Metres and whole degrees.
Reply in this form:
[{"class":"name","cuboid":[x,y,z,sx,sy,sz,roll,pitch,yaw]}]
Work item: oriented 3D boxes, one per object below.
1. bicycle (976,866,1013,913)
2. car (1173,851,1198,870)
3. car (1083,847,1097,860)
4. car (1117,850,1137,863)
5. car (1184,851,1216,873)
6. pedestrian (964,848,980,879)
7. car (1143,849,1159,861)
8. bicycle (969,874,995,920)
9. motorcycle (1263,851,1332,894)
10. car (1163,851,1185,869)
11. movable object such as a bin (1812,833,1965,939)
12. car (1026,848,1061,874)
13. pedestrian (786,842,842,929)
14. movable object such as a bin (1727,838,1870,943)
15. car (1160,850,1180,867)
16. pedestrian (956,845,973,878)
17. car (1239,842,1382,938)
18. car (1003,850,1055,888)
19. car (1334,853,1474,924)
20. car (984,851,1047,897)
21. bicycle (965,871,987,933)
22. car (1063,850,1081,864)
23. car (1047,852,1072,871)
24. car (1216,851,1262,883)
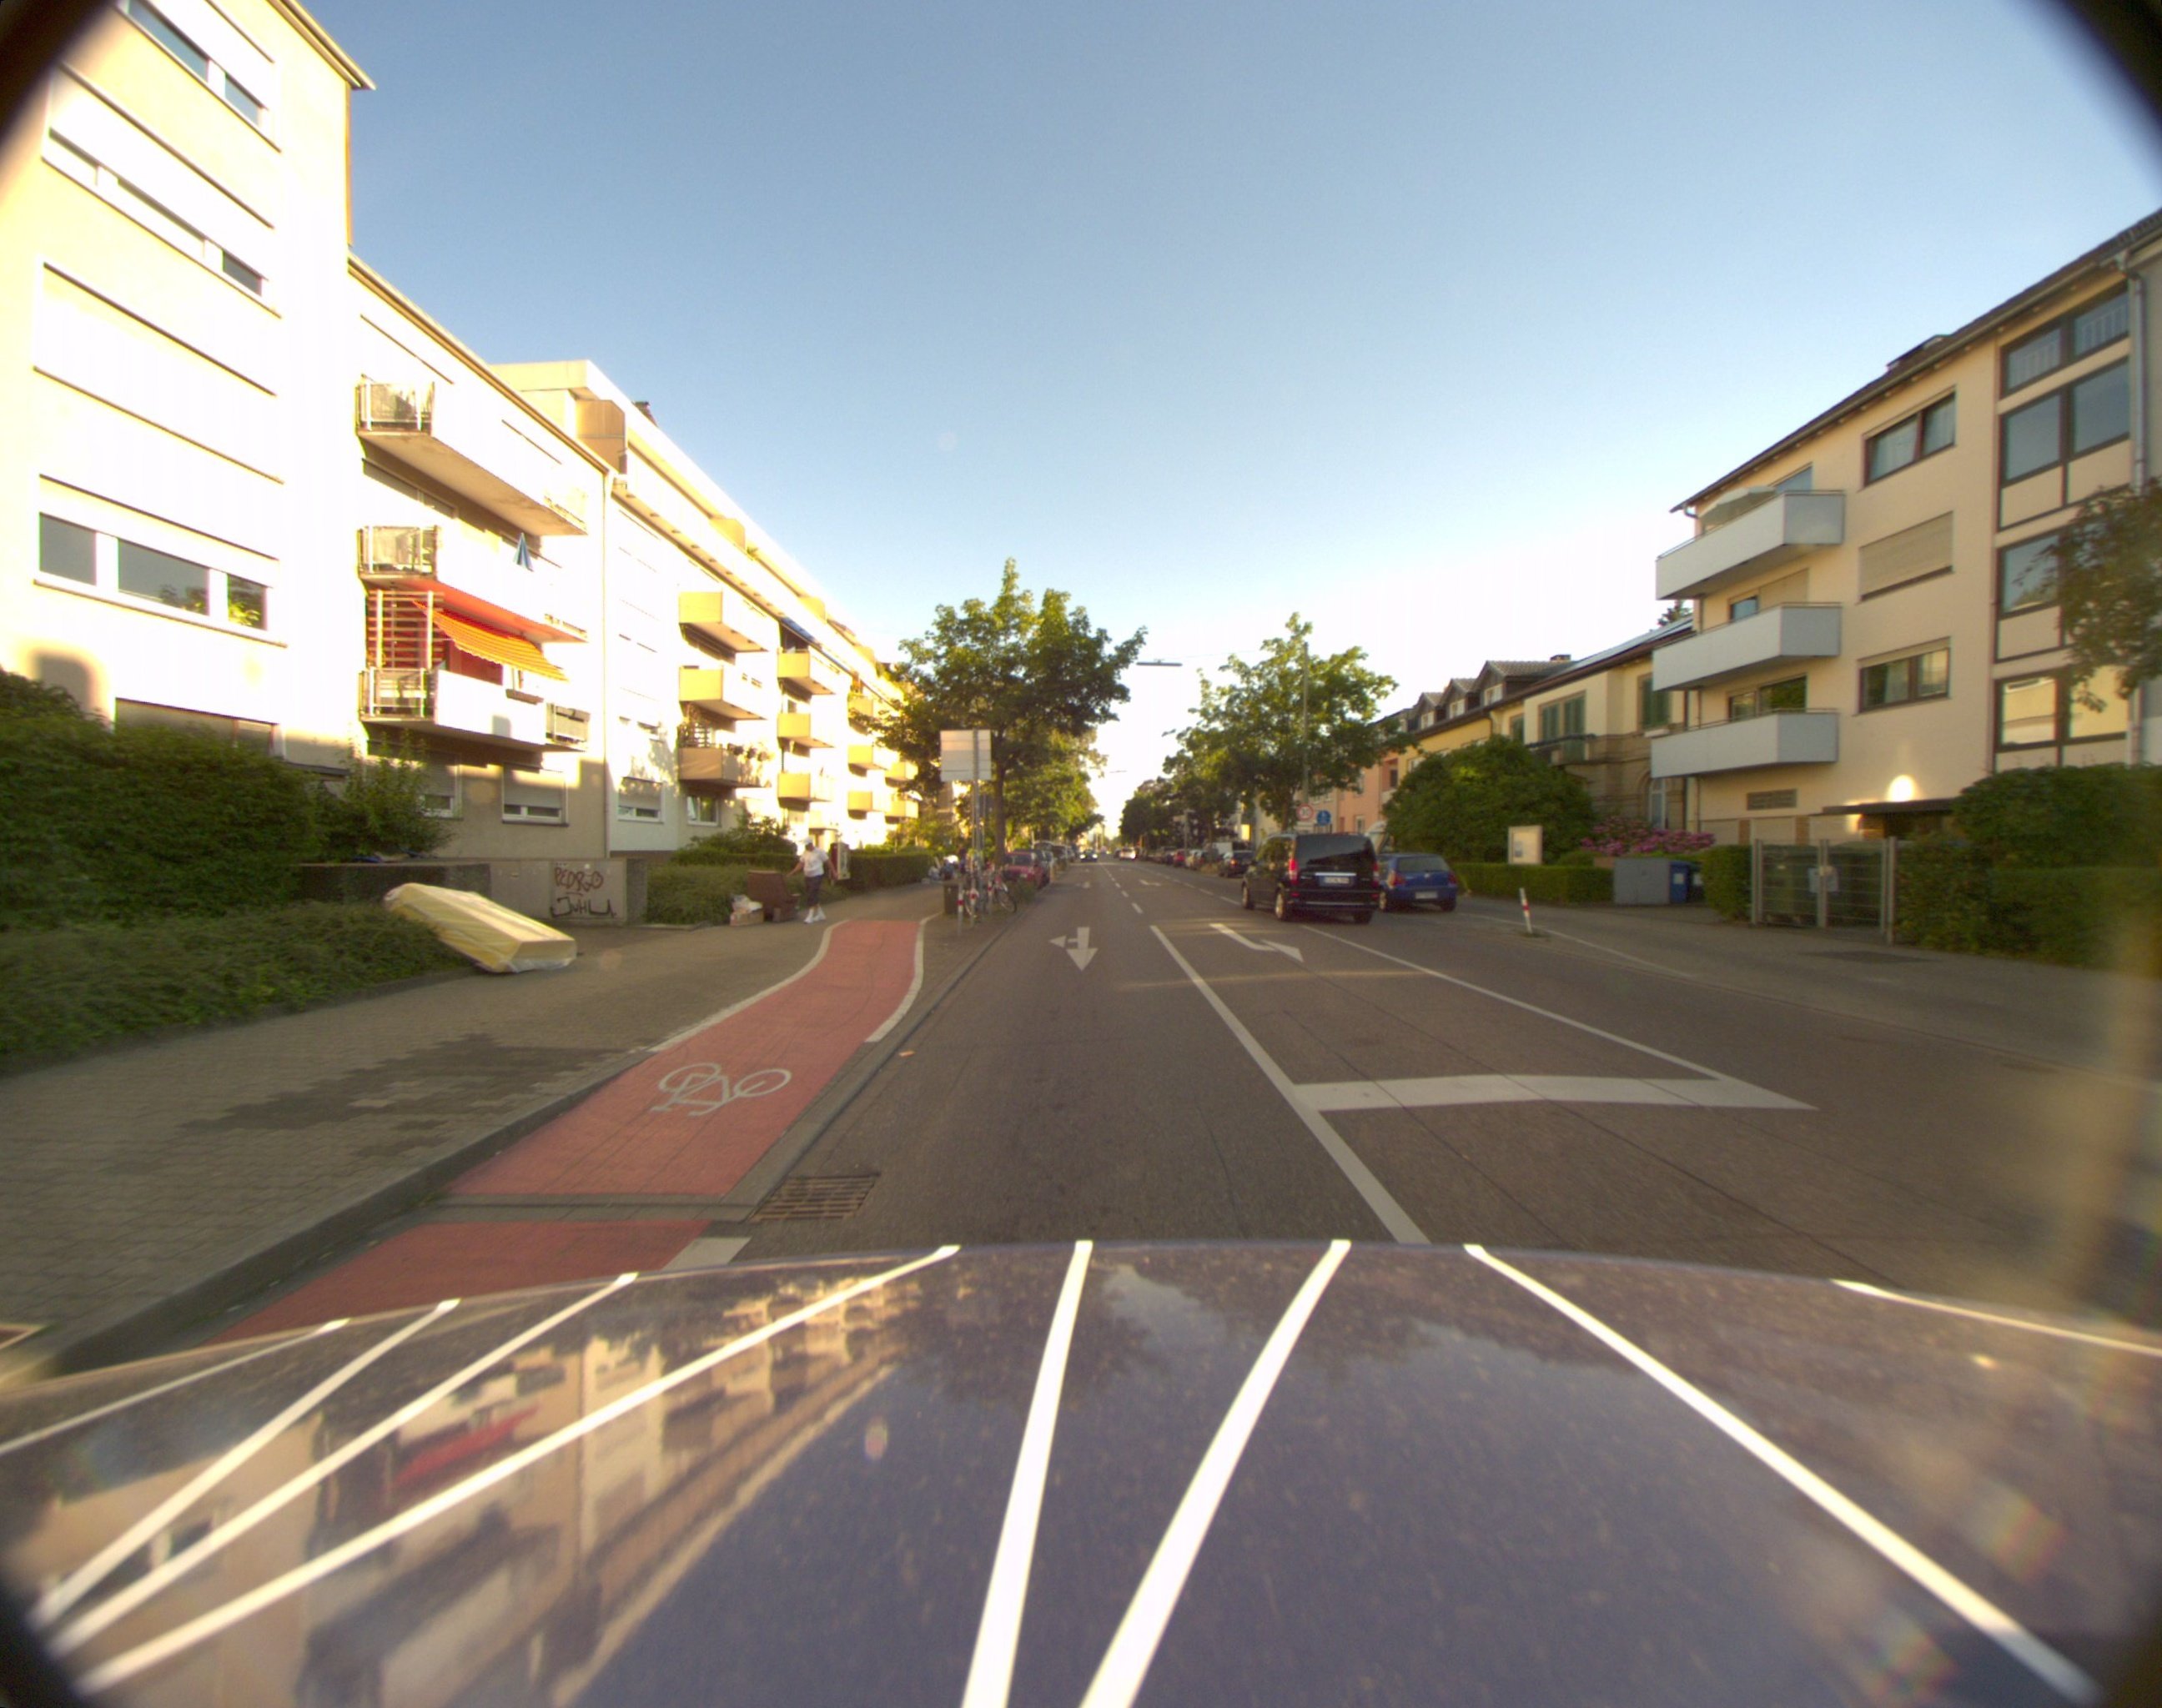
[{"class":"bicycle","cuboid":[-2.233,0.892,19.764,0.324,1.138,1.802,0,1,14]},{"class":"car","cuboid":[8.768,0.548,63.932,1.642,1.554,3.659,0,1,1]},{"class":"car","cuboid":[1.038,-0.038,88.962,1.641,1.482,4.415,1,0,0]},{"class":"car","cuboid":[5.798,0.268,97.039,1.843,1.604,4.406,0,1,-7]},{"class":"car","cuboid":[9.066,0.568,58.179,1.842,1.604,4.409,0,1,1]},{"class":"pedestrian","cuboid":[-5.849,0.501,40.745,0.659,1.673,0.831,1,1,6]},{"class":"car","cuboid":[8.837,0.116,96.129,1.642,1.554,3.659,0,1,1]},{"class":"bicycle","cuboid":[-2.272,0.981,17.505,0.325,0.981,1.191,0,1,5]},{"class":"motorcycle","cuboid":[8.135,0.642,28.745,1.263,1.526,2.887,0,1,-13]},{"class":"car","cuboid":[8.519,0.550,69.799,1.692,1.554,3.659,0,1,1]},{"class":"movable object such as a bin","cuboid":[13.717,0.503,12.959,1.309,1.649,1.180,-4,2,0]},{"class":"car","cuboid":[-2.181,0.376,45.411,1.744,1.509,3.811,0,1,3]},{"class":"pedestrian","cuboid":[-5.246,0.601,14.945,0.830,1.673,0.660,1,1,4]},{"class":"movable object such as a bin","cuboid":[12.337,0.586,13.113,1.309,1.649,1.180,-4,2,0]},{"class":"car","cuboid":[9.037,0.408,77.524,1.692,1.656,3.659,0,1,1]},{"class":"pedestrian","cuboid":[-5.987,0.366,39.124,0.659,1.673,0.831,1,1,6]},{"class":"car","cuboid":[4.938,0.683,17.030,1.842,1.866,4.409,0,1,0]},{"class":"car","cuboid":[-2.147,0.575,32.228,1.744,1.509,3.811,0,1,3]},{"class":"car","cuboid":[8.169,0.805,19.619,1.810,1.604,3.950,0,1,-2]},{"class":"car","cuboid":[-2.293,0.666,27.403,1.744,1.509,3.811,0,1,3]},{"class":"bicycle","cuboid":[-2.153,0.946,15.635,0.325,1.138,1.799,0,1,-4]},{"class":"car","cuboid":[-0.916,0.329,83.567,1.744,1.509,3.811,0,1,3]},{"class":"car","cuboid":[-1.698,0.603,62.238,1.744,1.509,3.811,0,1,3]},{"class":"car","cuboid":[8.470,0.668,41.035,1.734,1.604,4.197,0,1,1]}]
